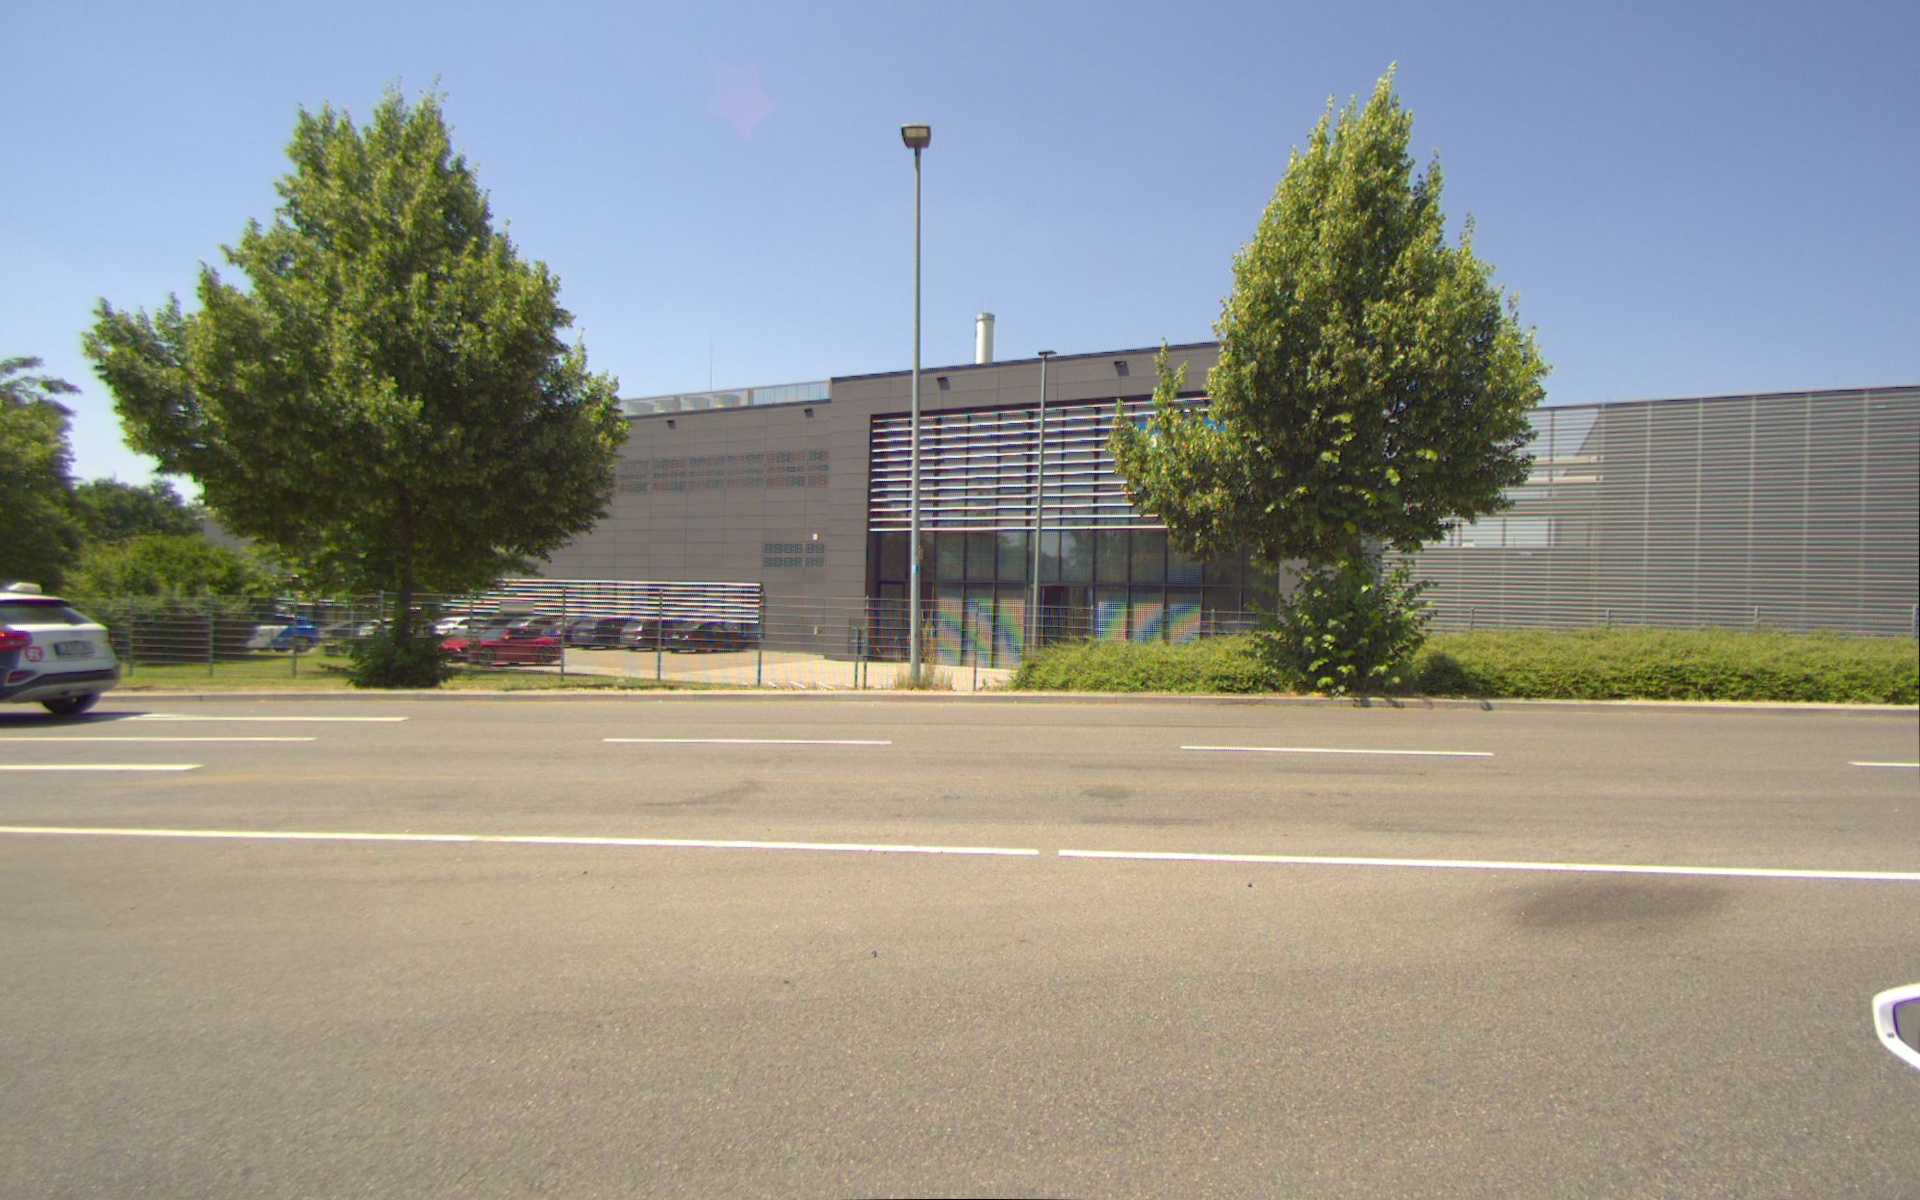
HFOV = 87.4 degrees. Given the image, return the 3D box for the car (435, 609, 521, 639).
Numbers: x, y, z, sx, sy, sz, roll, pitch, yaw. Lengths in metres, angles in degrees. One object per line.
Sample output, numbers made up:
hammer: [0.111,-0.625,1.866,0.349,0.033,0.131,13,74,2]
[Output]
car: [-25.576,1.315,53.414,1.738,1.479,3.999,-2,-3,23]

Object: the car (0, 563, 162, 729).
car: [-12.034,0.441,11.691,3.792,1.730,1.998,2,3,-6]

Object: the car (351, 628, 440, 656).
car: [-31.812,2.364,56.691,1.962,1.505,3.999,-2,-3,23]

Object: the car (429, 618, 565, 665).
car: [-15.890,1.453,34.703,1.962,1.505,3.999,-2,-3,23]

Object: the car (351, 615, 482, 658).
car: [-20.282,1.392,37.660,1.962,1.505,3.999,-2,-3,23]

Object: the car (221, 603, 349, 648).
car: [-27.991,1.092,41.798,1.962,1.728,3.999,-2,-3,23]

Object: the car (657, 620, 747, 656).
car: [-11.762,1.754,45.981,1.962,1.505,3.999,-2,-3,23]

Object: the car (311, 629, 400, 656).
car: [-34.394,2.429,57.256,1.962,1.505,3.999,-2,-3,23]

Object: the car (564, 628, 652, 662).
car: [-16.844,2.158,48.299,1.785,1.548,3.999,-2,-3,23]

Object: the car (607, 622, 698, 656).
car: [-14.352,1.843,47.044,1.962,1.505,3.999,-2,-3,23]

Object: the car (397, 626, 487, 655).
car: [-28.106,2.211,54.630,1.962,1.505,3.999,-2,-3,23]

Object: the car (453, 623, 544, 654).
car: [-23.817,2.018,51.949,1.962,1.505,3.999,-2,-3,23]

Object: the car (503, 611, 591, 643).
car: [-21.055,1.395,51.397,1.883,1.537,3.998,-2,-2,23]

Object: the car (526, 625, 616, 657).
car: [-19.168,2.040,49.654,1.962,1.505,3.999,-2,-3,23]
